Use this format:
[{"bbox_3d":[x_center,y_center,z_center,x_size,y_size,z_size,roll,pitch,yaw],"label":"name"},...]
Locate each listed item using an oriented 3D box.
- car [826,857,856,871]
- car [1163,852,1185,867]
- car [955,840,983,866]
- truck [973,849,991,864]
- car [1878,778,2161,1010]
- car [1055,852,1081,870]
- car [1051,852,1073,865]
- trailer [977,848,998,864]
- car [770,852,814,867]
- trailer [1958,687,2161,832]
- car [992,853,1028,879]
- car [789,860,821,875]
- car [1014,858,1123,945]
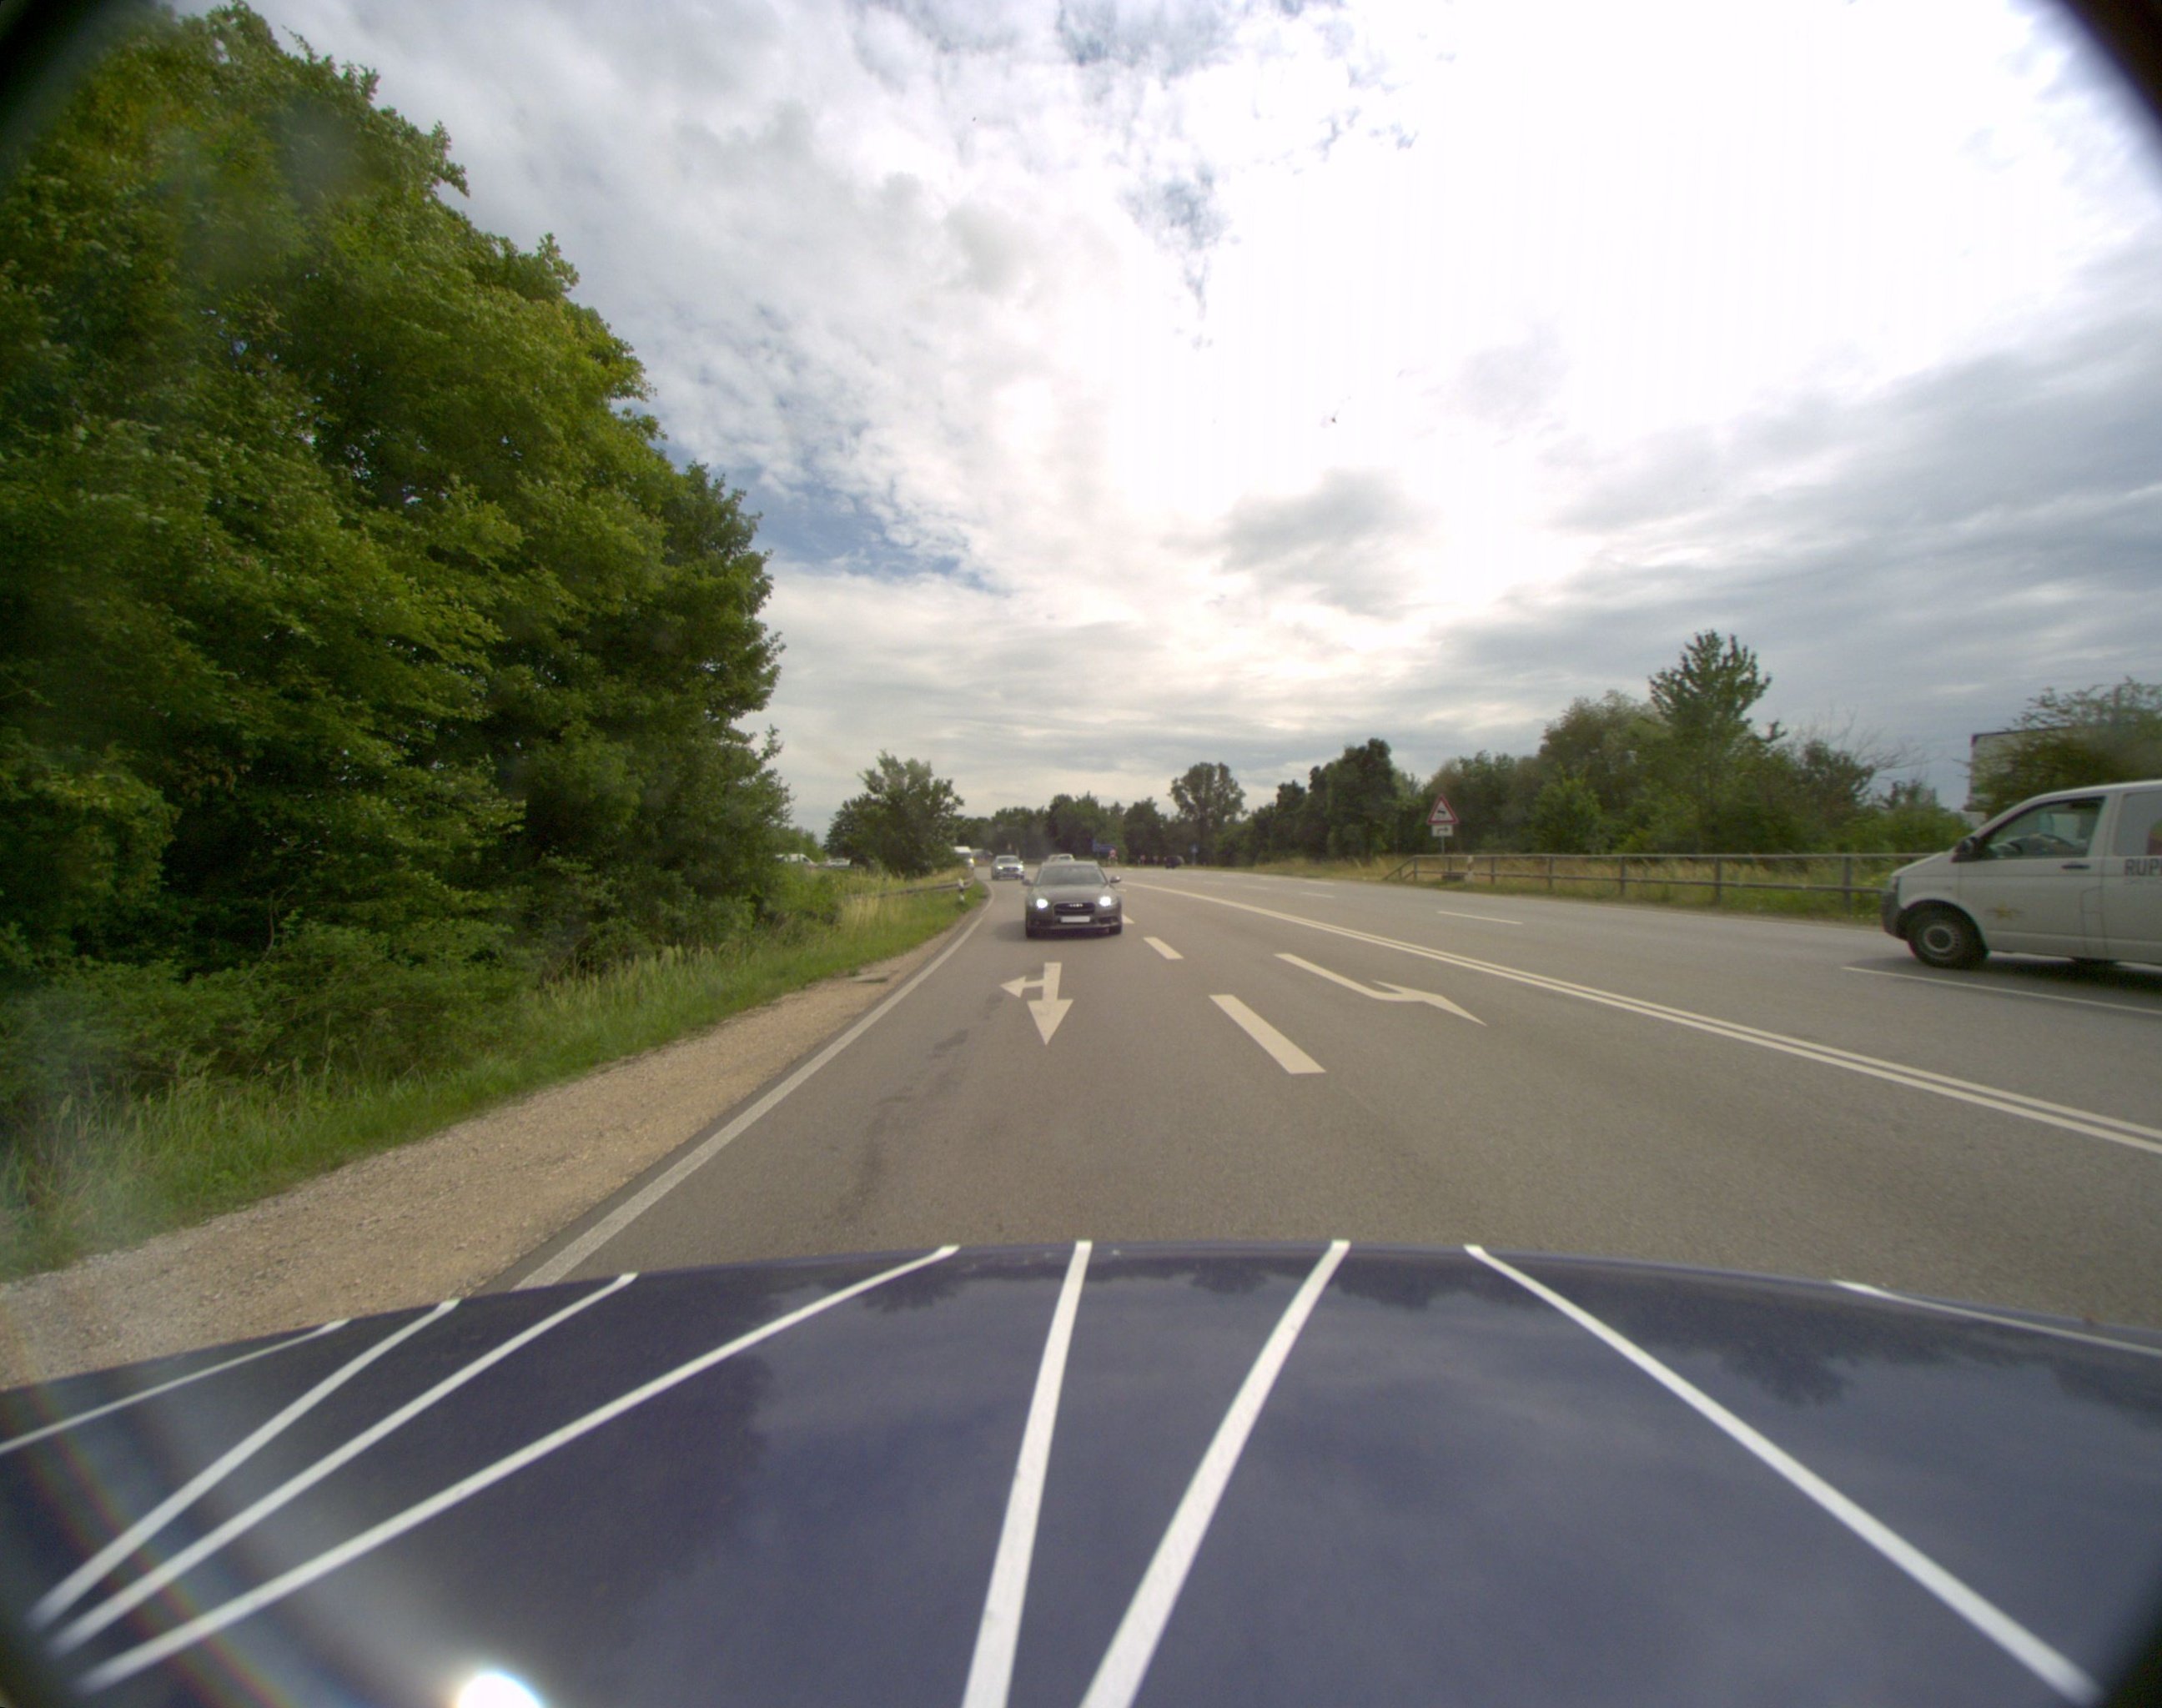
[{"bbox_3d":[-35.218,1.456,111.657,4.004,2.002,1.996,-2,0,-22],"label":"car"},{"bbox_3d":[12.032,0.664,98.203,1.996,1.786,4.325,-2,0,17],"label":"car"},{"bbox_3d":[-12.756,-0.066,86.370,2.222,2.654,5.233,-3,-1,-18],"label":"car"},{"bbox_3d":[-16.351,0.398,125.120,2.031,2.430,5.017,-2,1,-18],"label":"truck"},{"bbox_3d":[10.306,0.319,6.520,1.998,2.002,4.667,-2,0,0],"label":"car"},{"bbox_3d":[-1.216,0.583,68.124,1.736,1.509,3.996,-3,0,-9],"label":"car"},{"bbox_3d":[-2.230,0.544,88.728,1.883,1.480,3.739,-2,0,-13],"label":"car"},{"bbox_3d":[-14.848,0.362,120.262,2.031,2.430,6.955,-2,0,-17],"label":"trailer"},{"bbox_3d":[-42.455,0.822,111.693,5.904,2.002,2.057,-2,0,-25],"label":"car"},{"bbox_3d":[39.720,-3.518,28.143,2.810,4.967,8.966,-3,1,-25],"label":"trailer"},{"bbox_3d":[-4.881,0.797,51.651,2.022,1.603,4.277,-2,0,-10],"label":"car"},{"bbox_3d":[-38.412,1.905,105.792,4.005,2.001,1.928,-1,0,-25],"label":"car"},{"bbox_3d":[-0.280,0.877,15.988,1.958,1.527,3.999,-2,0,-2],"label":"car"}]
